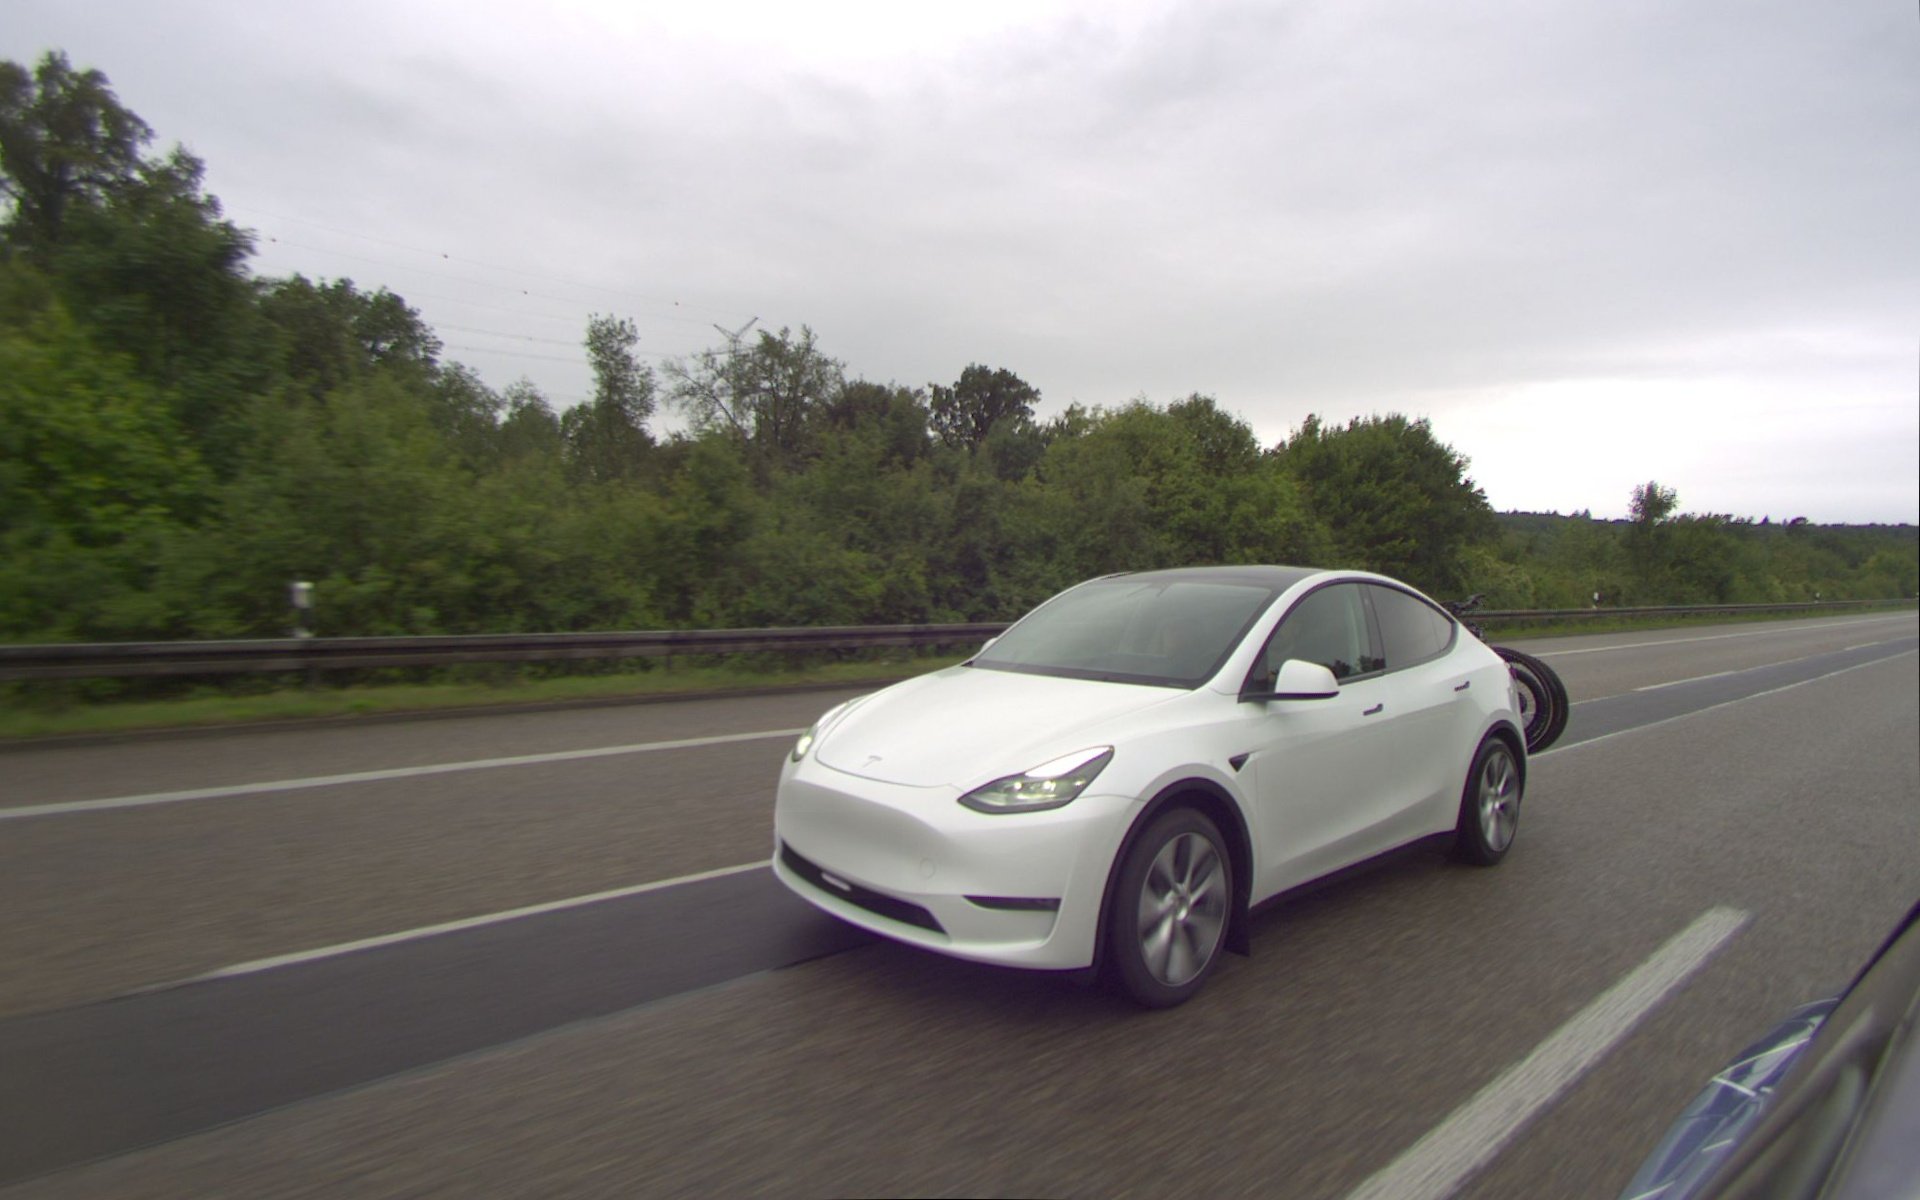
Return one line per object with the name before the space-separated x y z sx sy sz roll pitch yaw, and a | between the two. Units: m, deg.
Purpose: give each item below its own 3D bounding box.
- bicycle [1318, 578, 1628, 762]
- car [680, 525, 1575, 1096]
bicycle | 3.567 0.411 7.151 0.898 1.104 1.756 -2 2 -41
car | 1.260 0.547 5.144 4.878 1.587 1.863 -1 1 -42
